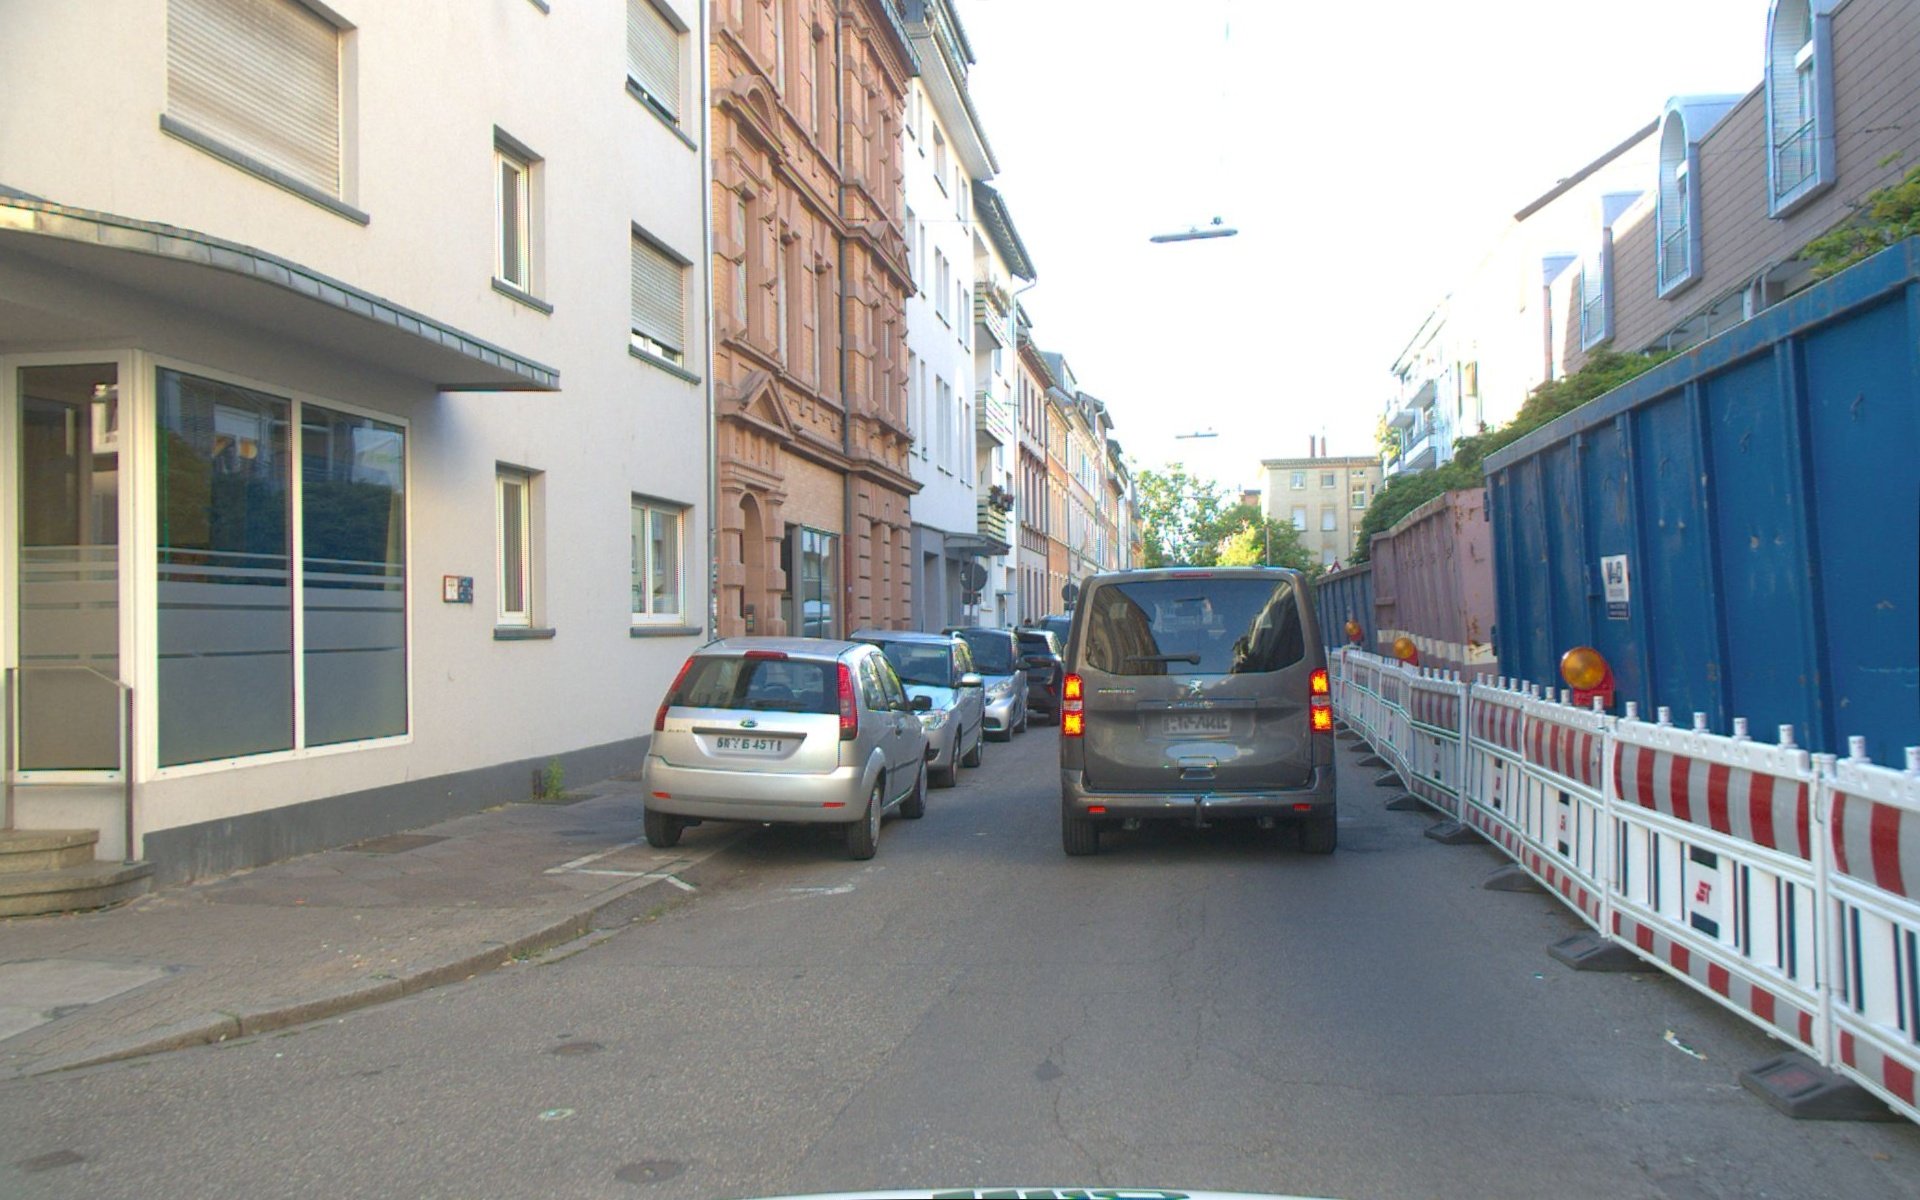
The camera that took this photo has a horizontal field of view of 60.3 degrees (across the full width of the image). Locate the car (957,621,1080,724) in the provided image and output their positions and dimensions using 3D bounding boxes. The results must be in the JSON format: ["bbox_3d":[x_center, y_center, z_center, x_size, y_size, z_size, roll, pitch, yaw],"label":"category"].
[{"bbox_3d":[1.072,1.188,28.544,1.703,1.627,4.017,-1,-1,8],"label":"car"}]

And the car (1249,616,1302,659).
[{"bbox_3d":[12.731,1.498,67.012,1.686,1.640,4.591,-1,-1,6],"label":"car"}]

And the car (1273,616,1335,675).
[{"bbox_3d":[10.344,1.339,49.929,1.711,1.713,4.529,0,-1,10],"label":"car"}]

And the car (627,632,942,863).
[{"bbox_3d":[-1.172,1.000,12.534,1.597,1.455,3.557,-1,-1,7],"label":"car"}]

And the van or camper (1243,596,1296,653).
[{"bbox_3d":[15.446,1.205,82.851,2.055,2.648,7.517,-2,-1,7],"label":"van or camper"}]

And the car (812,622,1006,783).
[{"bbox_3d":[-0.457,1.028,18.079,1.522,1.535,3.600,1,0,8],"label":"car"}]

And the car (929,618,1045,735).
[{"bbox_3d":[0.450,1.099,24.658,1.366,1.616,2.796,-1,-1,8],"label":"car"}]

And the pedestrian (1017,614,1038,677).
[{"bbox_3d":[1.815,1.220,44.135,0.484,1.667,0.666,0,-1,8],"label":"pedestrian"}]

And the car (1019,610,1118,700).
[{"bbox_3d":[2.535,1.194,37.592,1.951,1.891,4.588,-1,-1,7],"label":"car"}]

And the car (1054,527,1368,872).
[{"bbox_3d":[1.811,0.643,12.226,1.818,2.049,4.003,-3,-1,8],"label":"car"}]
